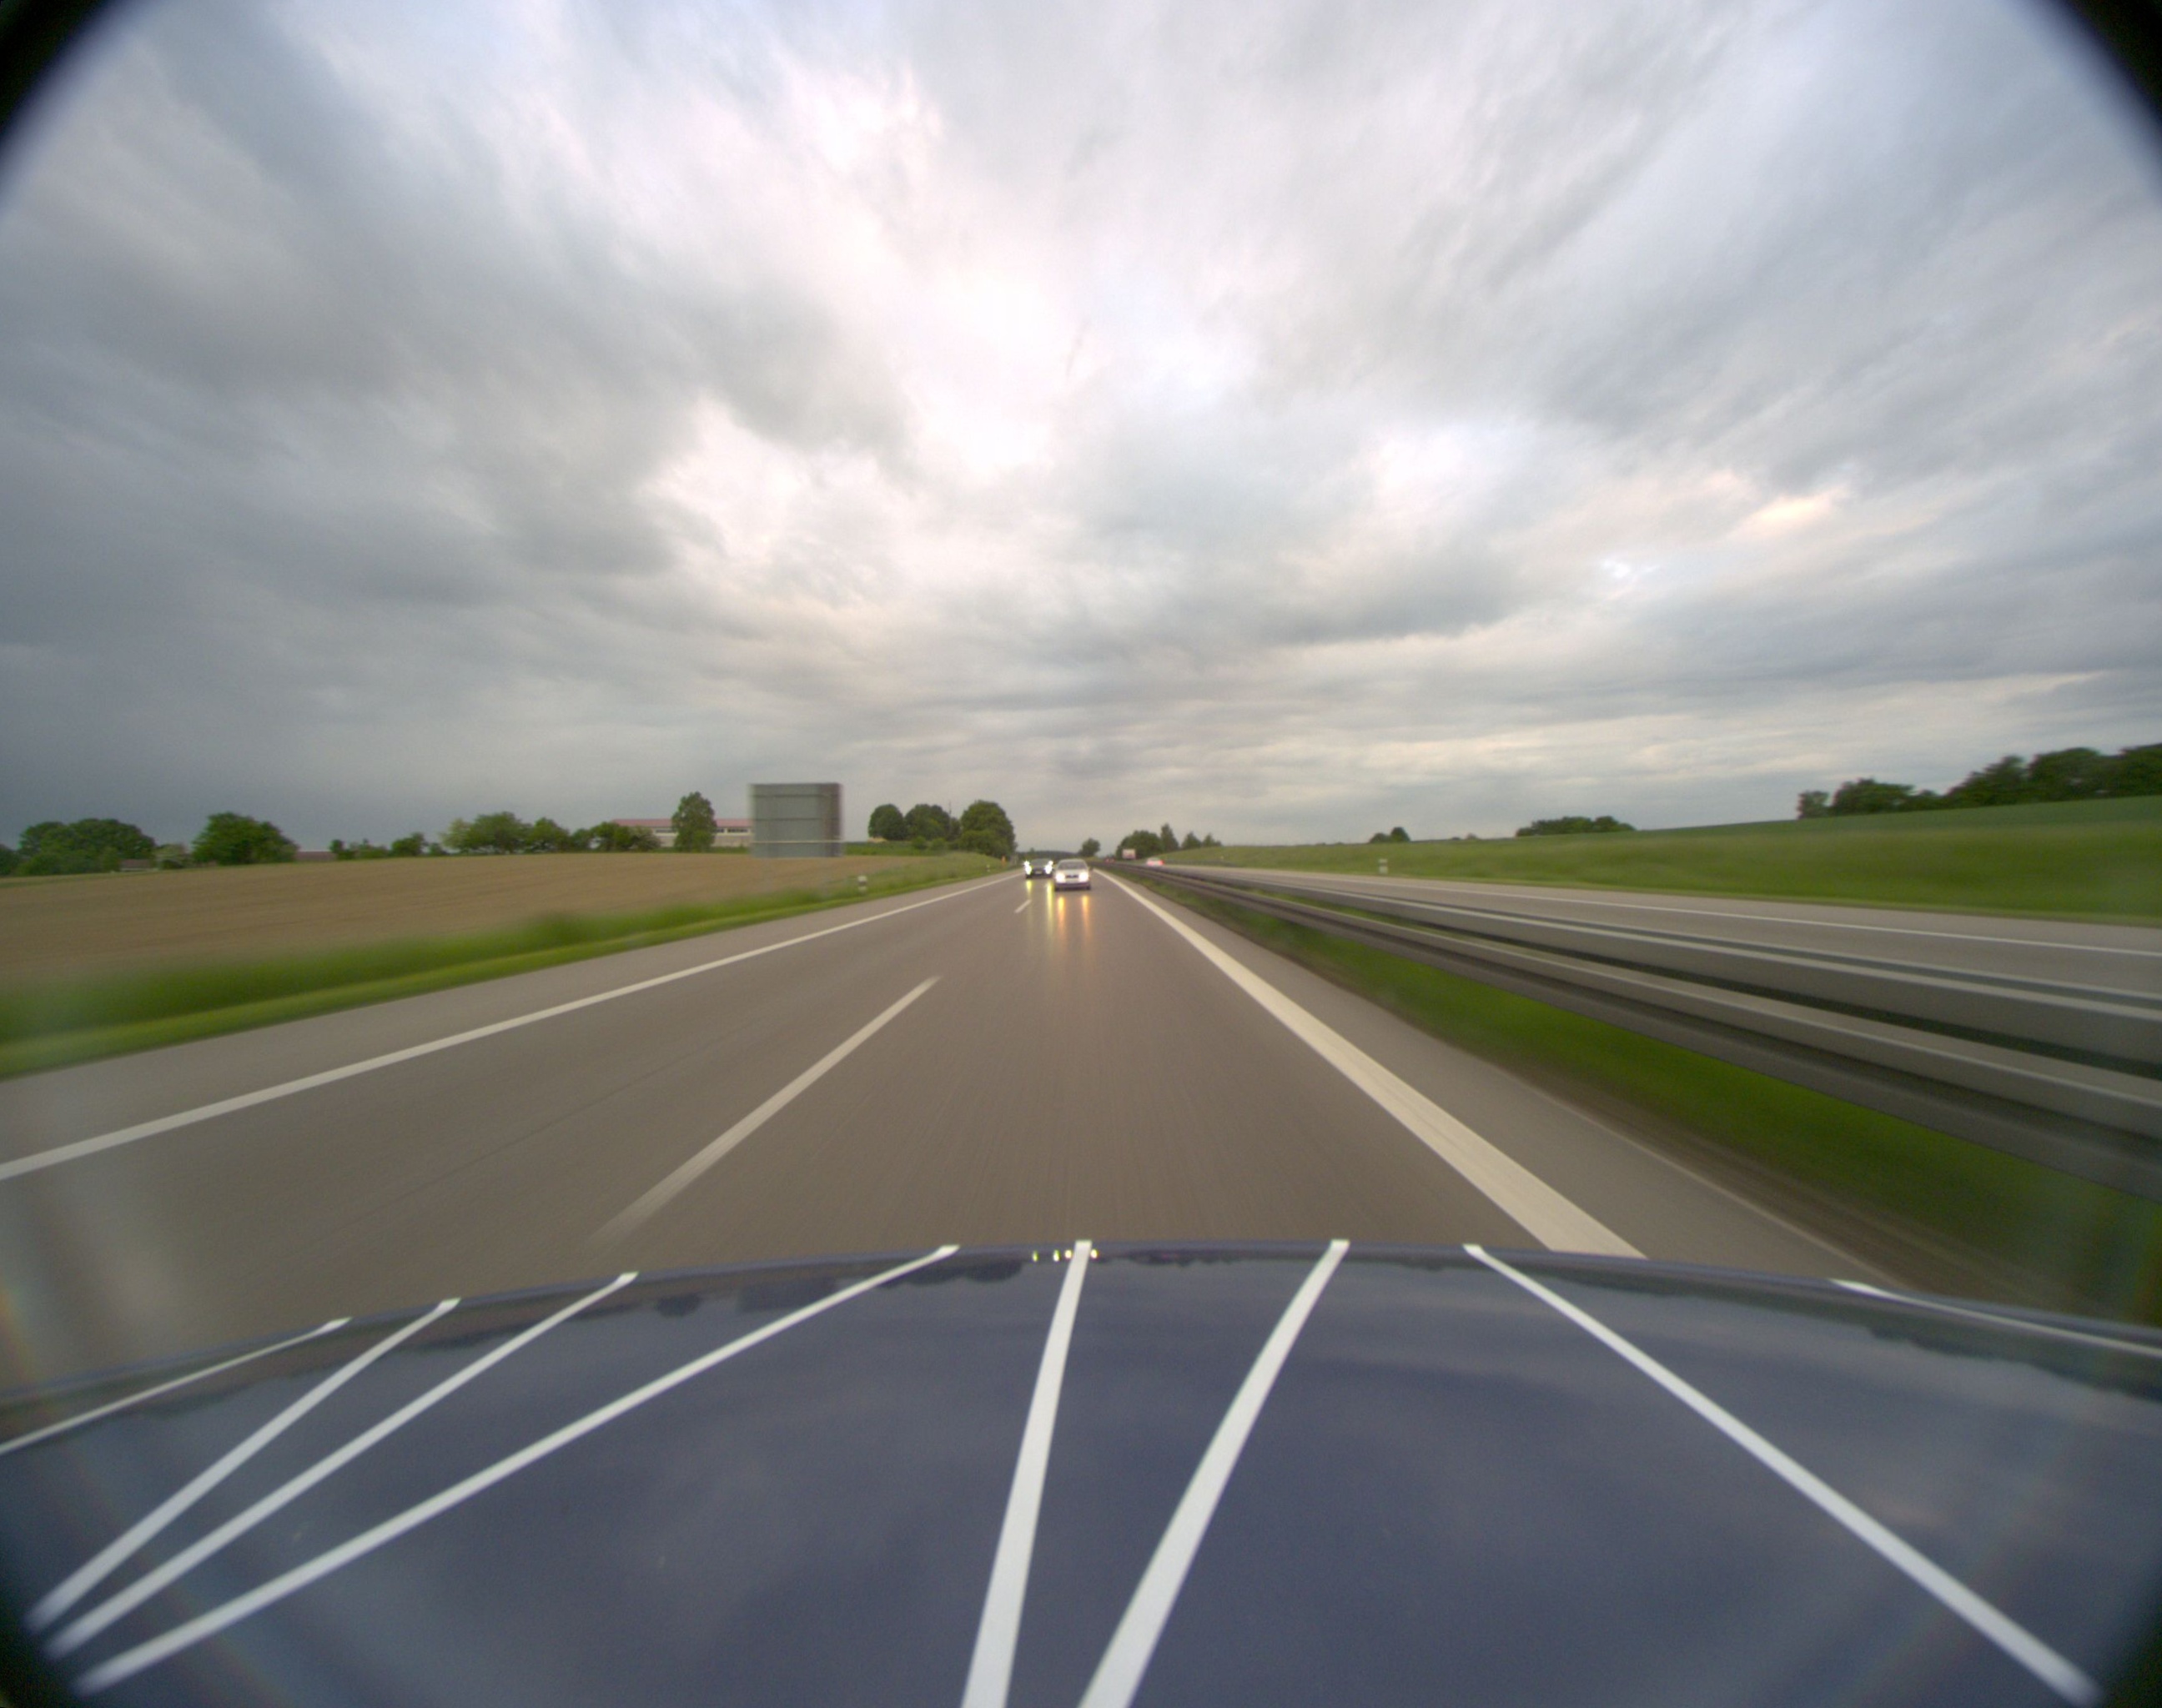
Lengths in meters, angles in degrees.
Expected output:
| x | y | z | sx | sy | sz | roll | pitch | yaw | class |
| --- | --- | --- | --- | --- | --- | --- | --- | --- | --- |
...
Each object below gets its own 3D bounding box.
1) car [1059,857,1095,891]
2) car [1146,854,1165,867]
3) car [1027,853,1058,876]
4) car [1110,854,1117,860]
| x | y | z | sx | sy | sz | roll | pitch | yaw | class |
| --- | --- | --- | --- | --- | --- | --- | --- | --- | --- |
| -0.188 | 0.872 | 35.482 | 1.592 | 1.381 | 4.600 | 0 | 1 | 0 | car |
| 9.026 | 0.774 | 92.417 | 1.733 | 1.477 | 4.930 | -3 | 0 | -1 | car |
| -2.903 | 0.800 | 58.418 | 1.951 | 1.620 | 4.536 | -1 | 1 | 2 | car |
| 8.603 | 0.800 | 199.029 | 1.553 | 1.363 | 3.798 | -3 | 1 | -1 | car |
